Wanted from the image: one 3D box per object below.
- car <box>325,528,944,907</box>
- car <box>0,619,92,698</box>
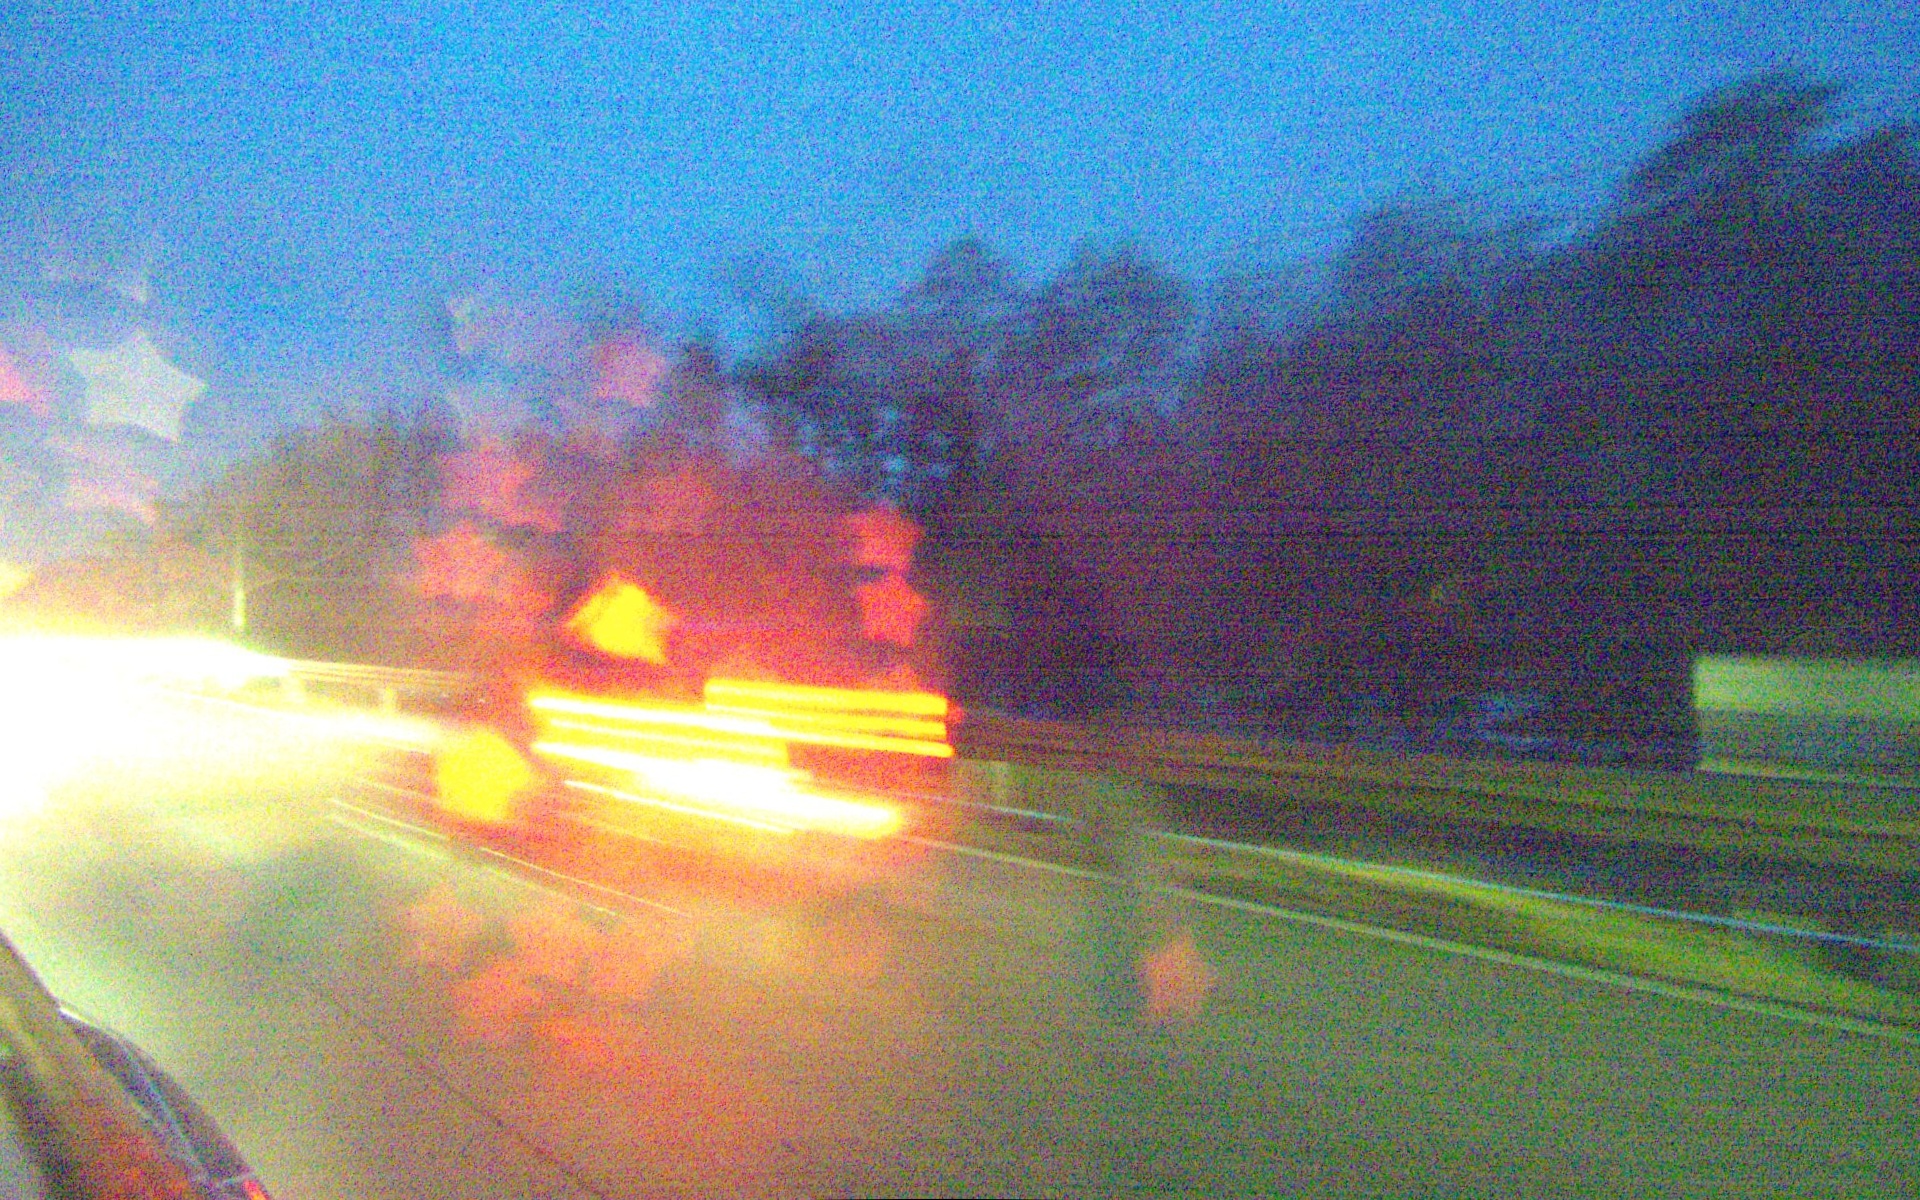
[{"bbox_3d":[-2.220,0.607,6.345,3.998,1.599,1.911,-3,-4,41],"label":"car"},{"bbox_3d":[-19.153,1.189,20.493,3.790,1.467,1.810,-3,-4,40],"label":"car"}]
